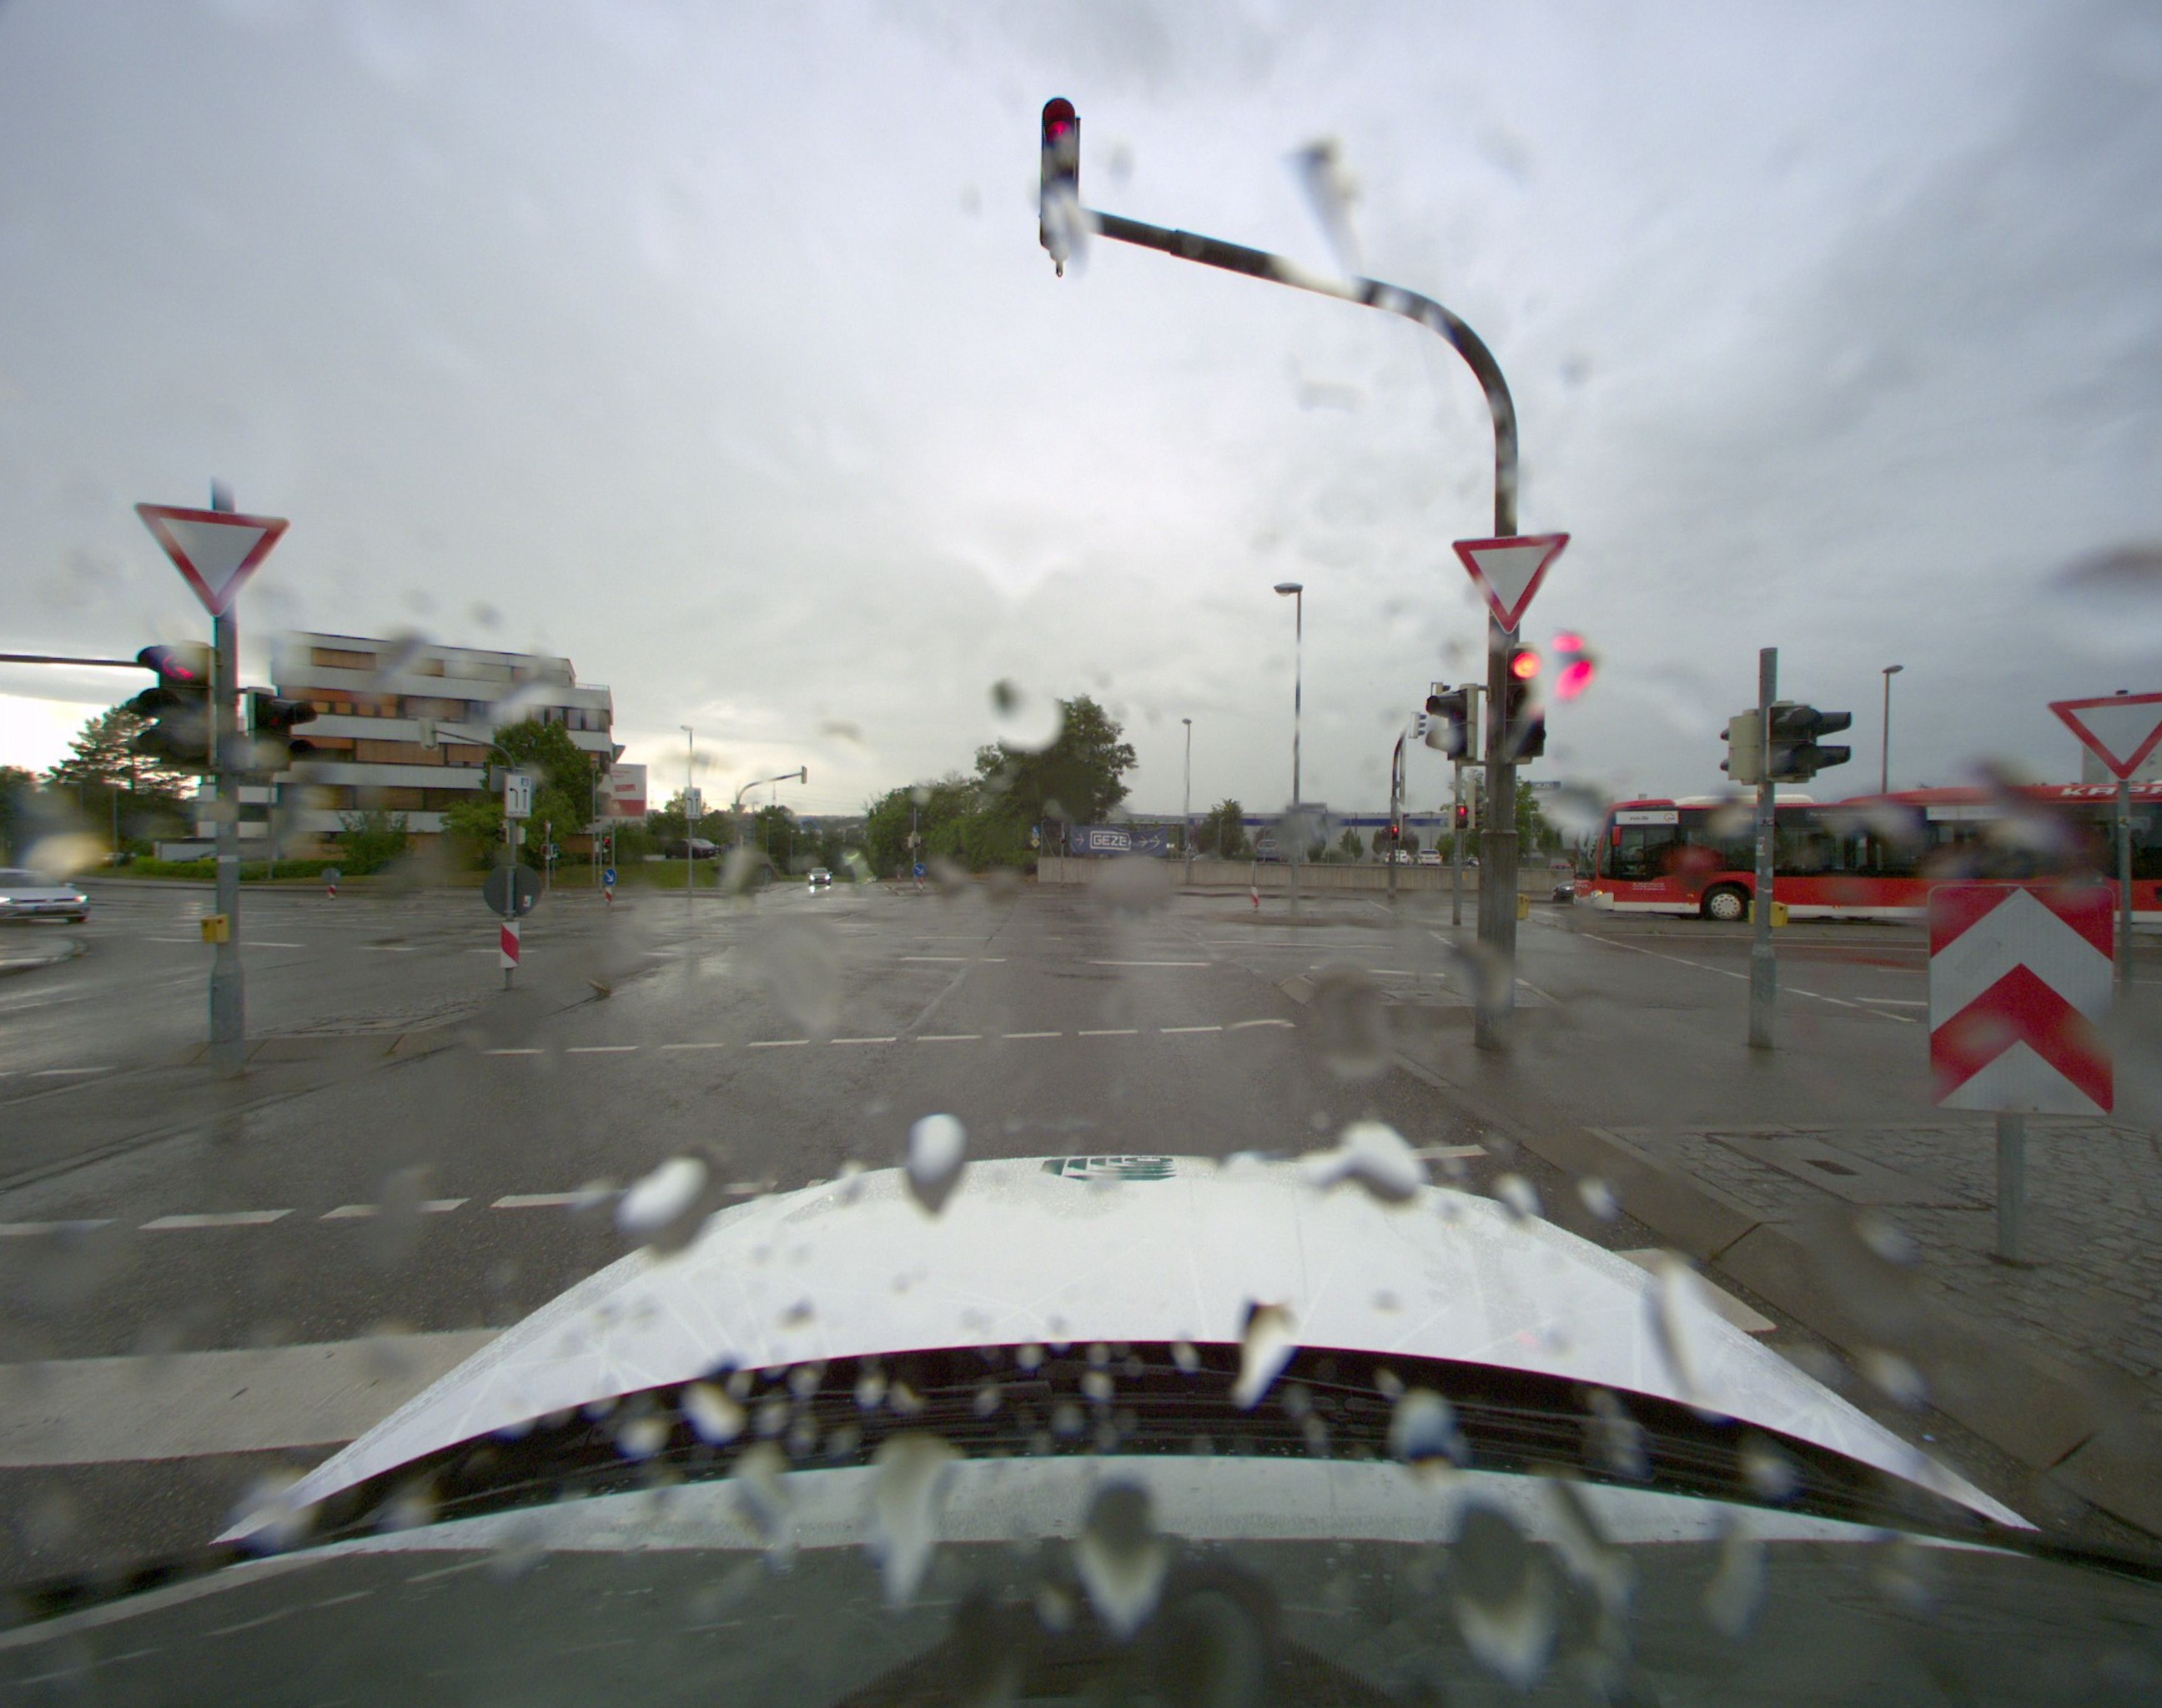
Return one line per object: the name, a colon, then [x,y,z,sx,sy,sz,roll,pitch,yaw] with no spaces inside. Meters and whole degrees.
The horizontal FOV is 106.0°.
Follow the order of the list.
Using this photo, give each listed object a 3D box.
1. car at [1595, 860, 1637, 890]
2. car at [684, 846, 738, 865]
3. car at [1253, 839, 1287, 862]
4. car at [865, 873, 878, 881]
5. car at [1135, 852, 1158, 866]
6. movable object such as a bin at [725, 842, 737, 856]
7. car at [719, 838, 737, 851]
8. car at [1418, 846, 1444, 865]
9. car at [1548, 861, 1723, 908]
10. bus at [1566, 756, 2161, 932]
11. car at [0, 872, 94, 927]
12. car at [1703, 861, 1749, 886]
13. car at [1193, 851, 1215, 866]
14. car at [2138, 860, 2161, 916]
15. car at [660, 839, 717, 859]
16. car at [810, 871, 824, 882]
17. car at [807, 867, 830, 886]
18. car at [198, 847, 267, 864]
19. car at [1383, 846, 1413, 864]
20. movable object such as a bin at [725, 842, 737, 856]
car: [37.195,1.441,56.702,1.727,2.014,3.844,-1,-1,23]
car: [-32.724,0.183,72.008,3.958,1.586,1.909,0,-2,14]
car: [13.350,-0.248,57.290,1.727,1.553,3.550,-1,-1,23]
car: [-42.565,4.662,165.676,1.894,1.456,3.996,0,0,-3]
car: [7.766,0.575,95.907,1.651,1.606,3.550,-1,-1,23]
movable object such as a bin: [-37.761,-0.521,87.893,1.089,1.437,1.434,1,-3,-25]
car: [-41.959,-1.113,96.870,1.836,1.442,3.967,1,-2,-25]
car: [28.898,0.124,67.199,1.841,1.526,4.127,-1,-1,25]
car: [17.638,0.936,26.147,4.344,1.354,1.834,0,0,18]
bus: [18.776,-0.301,19.277,12.152,3.576,3.001,2,0,19]
car: [-28.860,1.174,21.762,4.479,1.363,1.771,-1,-1,20]
car: [53.074,1.558,67.094,1.976,2.014,4.022,-1,-1,24]
car: [13.950,0.500,92.453,1.651,1.606,3.550,-1,-1,23]
car: [31.677,0.944,21.491,4.344,1.538,1.834,0,0,18]
car: [-33.429,-0.431,69.357,3.962,1.586,1.907,0,-2,10]
car: [-36.382,3.110,112.345,1.723,1.494,3.978,0,-1,-16]
car: [-21.756,1.870,67.486,1.667,1.494,3.973,0,-1,-20]
car: [-69.941,0.113,67.217,3.779,1.399,1.977,0,0,-40]
car: [26.471,0.103,67.889,1.800,1.434,4.128,-1,-1,28]
movable object such as a bin: [-38.361,-0.508,89.225,1.089,1.437,1.434,1,-3,-25]
